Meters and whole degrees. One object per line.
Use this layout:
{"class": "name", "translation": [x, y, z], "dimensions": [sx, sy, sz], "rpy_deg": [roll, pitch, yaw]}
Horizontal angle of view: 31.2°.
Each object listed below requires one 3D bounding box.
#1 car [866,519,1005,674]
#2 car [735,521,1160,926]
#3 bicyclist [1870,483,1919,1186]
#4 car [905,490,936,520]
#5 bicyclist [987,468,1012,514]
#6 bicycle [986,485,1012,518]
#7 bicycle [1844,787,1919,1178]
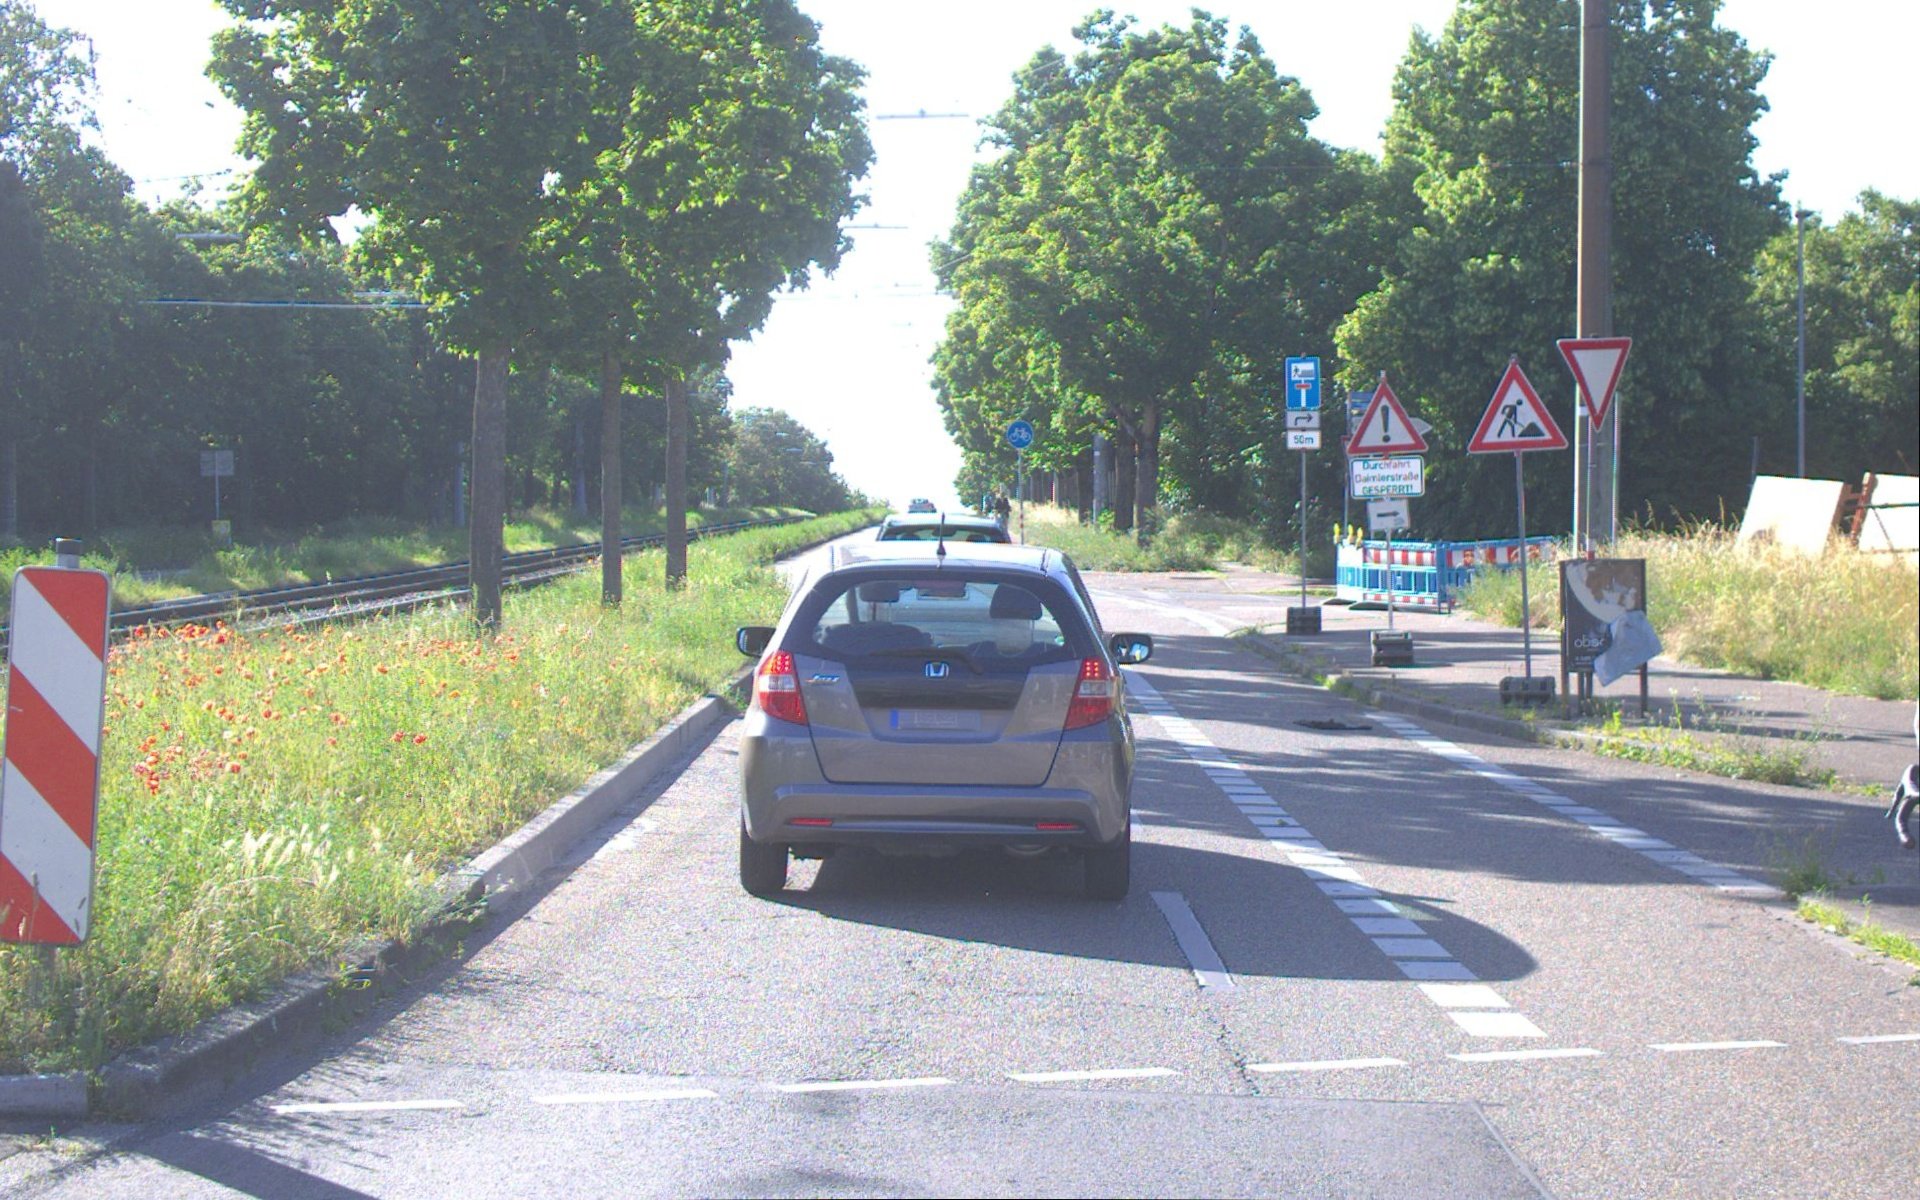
{"class": "car", "translation": [-0.224, -0.057, 35.384], "dimensions": [1.351, 1.522, 3.123], "rpy_deg": [0, 1, 1]}
{"class": "car", "translation": [-0.049, 0.461, 15.766], "dimensions": [1.670, 1.510, 3.674], "rpy_deg": [2, 2, 0]}
{"class": "bicyclist", "translation": [2.592, 0.559, 8.194], "dimensions": [0.615, 1.674, 0.933], "rpy_deg": [0, 1, 1]}
{"class": "car", "translation": [-2.739, -6.677, 240.881], "dimensions": [1.993, 2.007, 4.000], "rpy_deg": [-1, 1, 1]}
{"class": "bicyclist", "translation": [1.347, -3.696, 116.449], "dimensions": [0.818, 1.519, 0.966], "rpy_deg": [1, 0, 1]}
{"class": "bicycle", "translation": [1.330, -3.336, 116.431], "dimensions": [0.818, 1.044, 2.506], "rpy_deg": [1, 0, 1]}
{"class": "bicycle", "translation": [2.653, 0.987, 8.415], "dimensions": [0.524, 0.920, 2.089], "rpy_deg": [0, 1, 3]}
